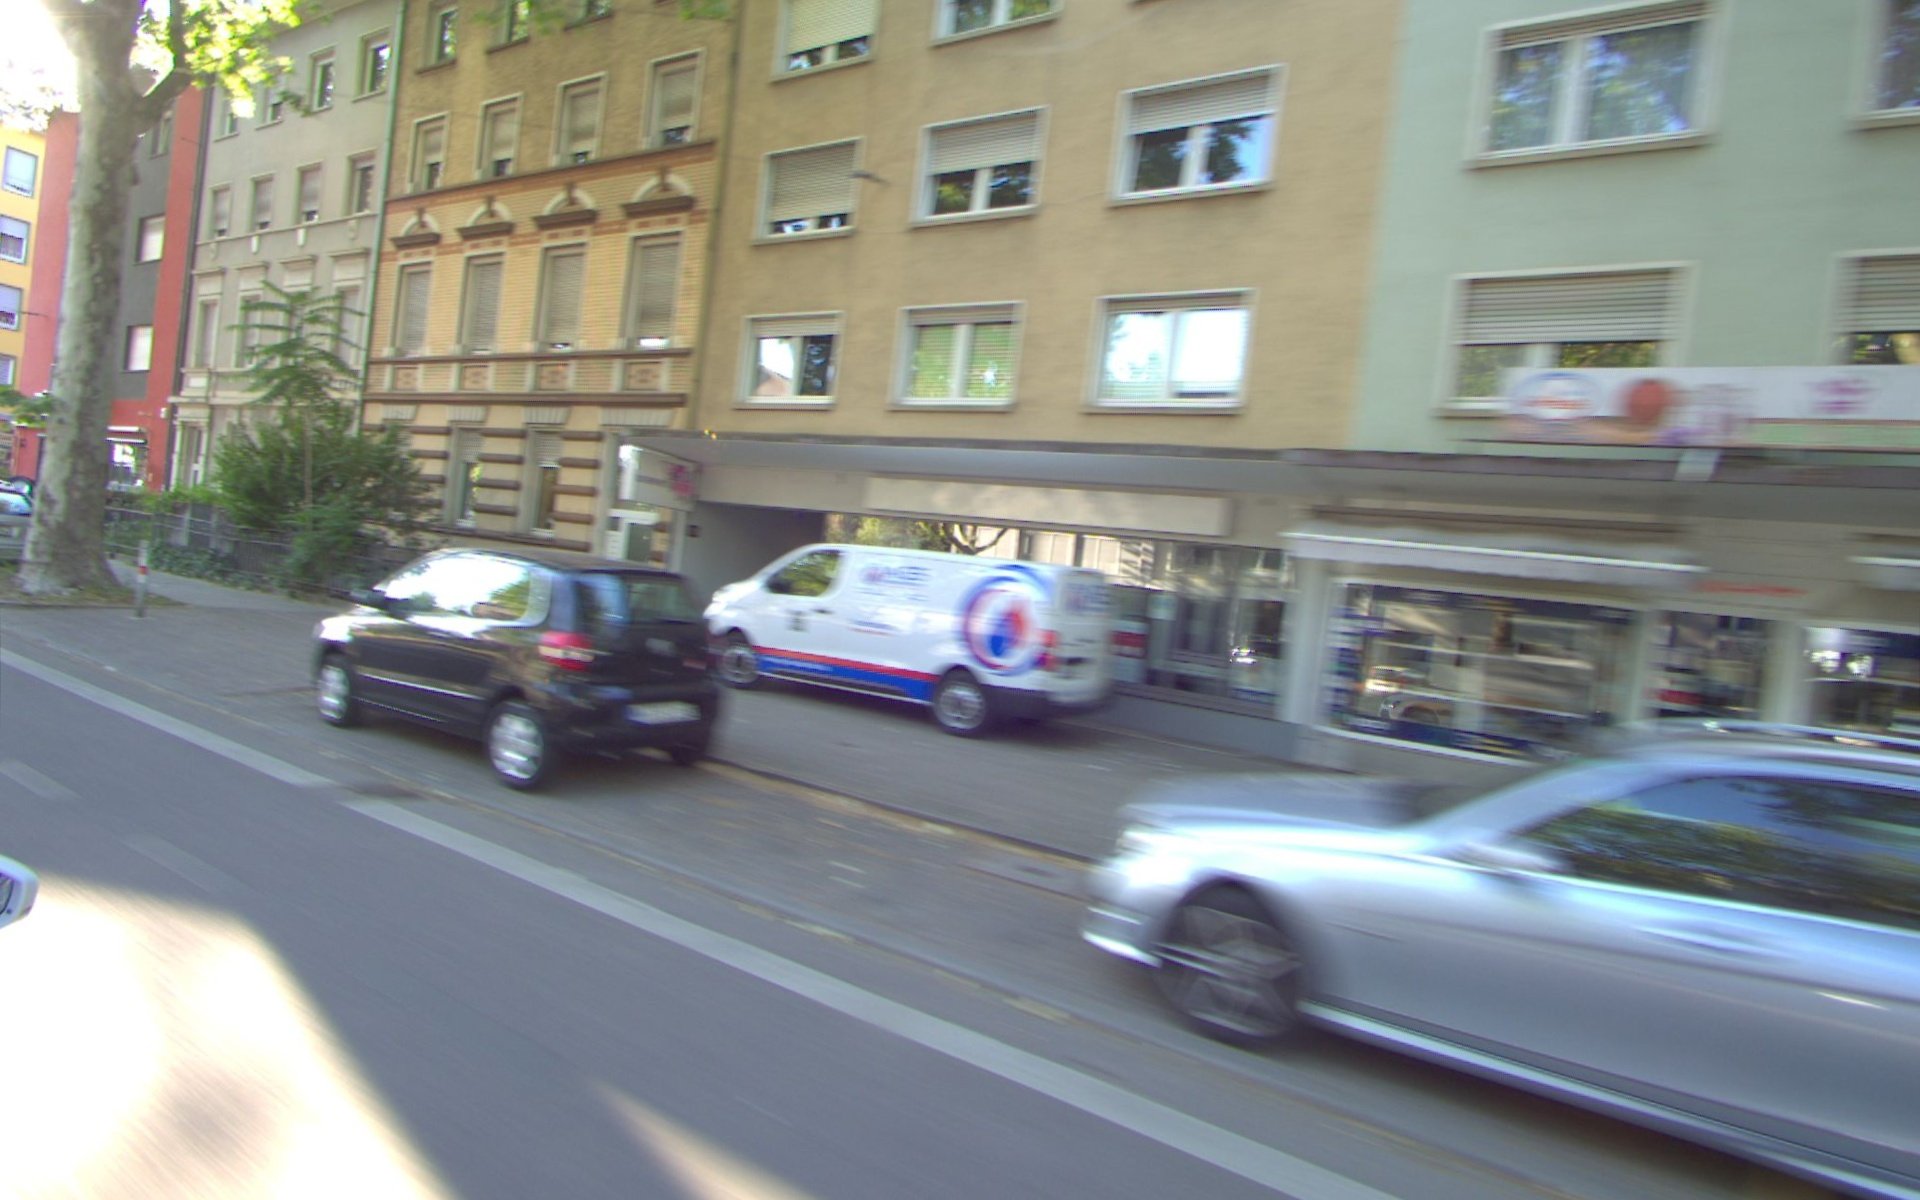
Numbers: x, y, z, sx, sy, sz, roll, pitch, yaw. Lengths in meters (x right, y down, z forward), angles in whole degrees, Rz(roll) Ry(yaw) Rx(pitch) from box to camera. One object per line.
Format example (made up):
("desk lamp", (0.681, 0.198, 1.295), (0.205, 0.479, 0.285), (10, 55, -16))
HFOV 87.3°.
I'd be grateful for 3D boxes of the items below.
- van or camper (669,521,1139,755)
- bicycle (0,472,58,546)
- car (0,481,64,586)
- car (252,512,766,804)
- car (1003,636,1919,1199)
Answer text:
("van or camper", (-0.807, 0.318, 12.067), (5.301, 1.947, 1.944), (7, 1, 31))
("bicycle", (-21.007, -2.058, 22.423), (2.357, 1.443, 0.608), (7, -1, 33))
("car", (-15.923, -1.242, 15.587), (4.493, 1.469, 1.676), (7, 1, 30))
("car", (-3.644, 0.318, 7.940), (3.933, 1.565, 1.655), (7, 1, 31))
("car", (2.696, 1.240, 3.799), (4.697, 1.562, 1.697), (7, 1, 31))
